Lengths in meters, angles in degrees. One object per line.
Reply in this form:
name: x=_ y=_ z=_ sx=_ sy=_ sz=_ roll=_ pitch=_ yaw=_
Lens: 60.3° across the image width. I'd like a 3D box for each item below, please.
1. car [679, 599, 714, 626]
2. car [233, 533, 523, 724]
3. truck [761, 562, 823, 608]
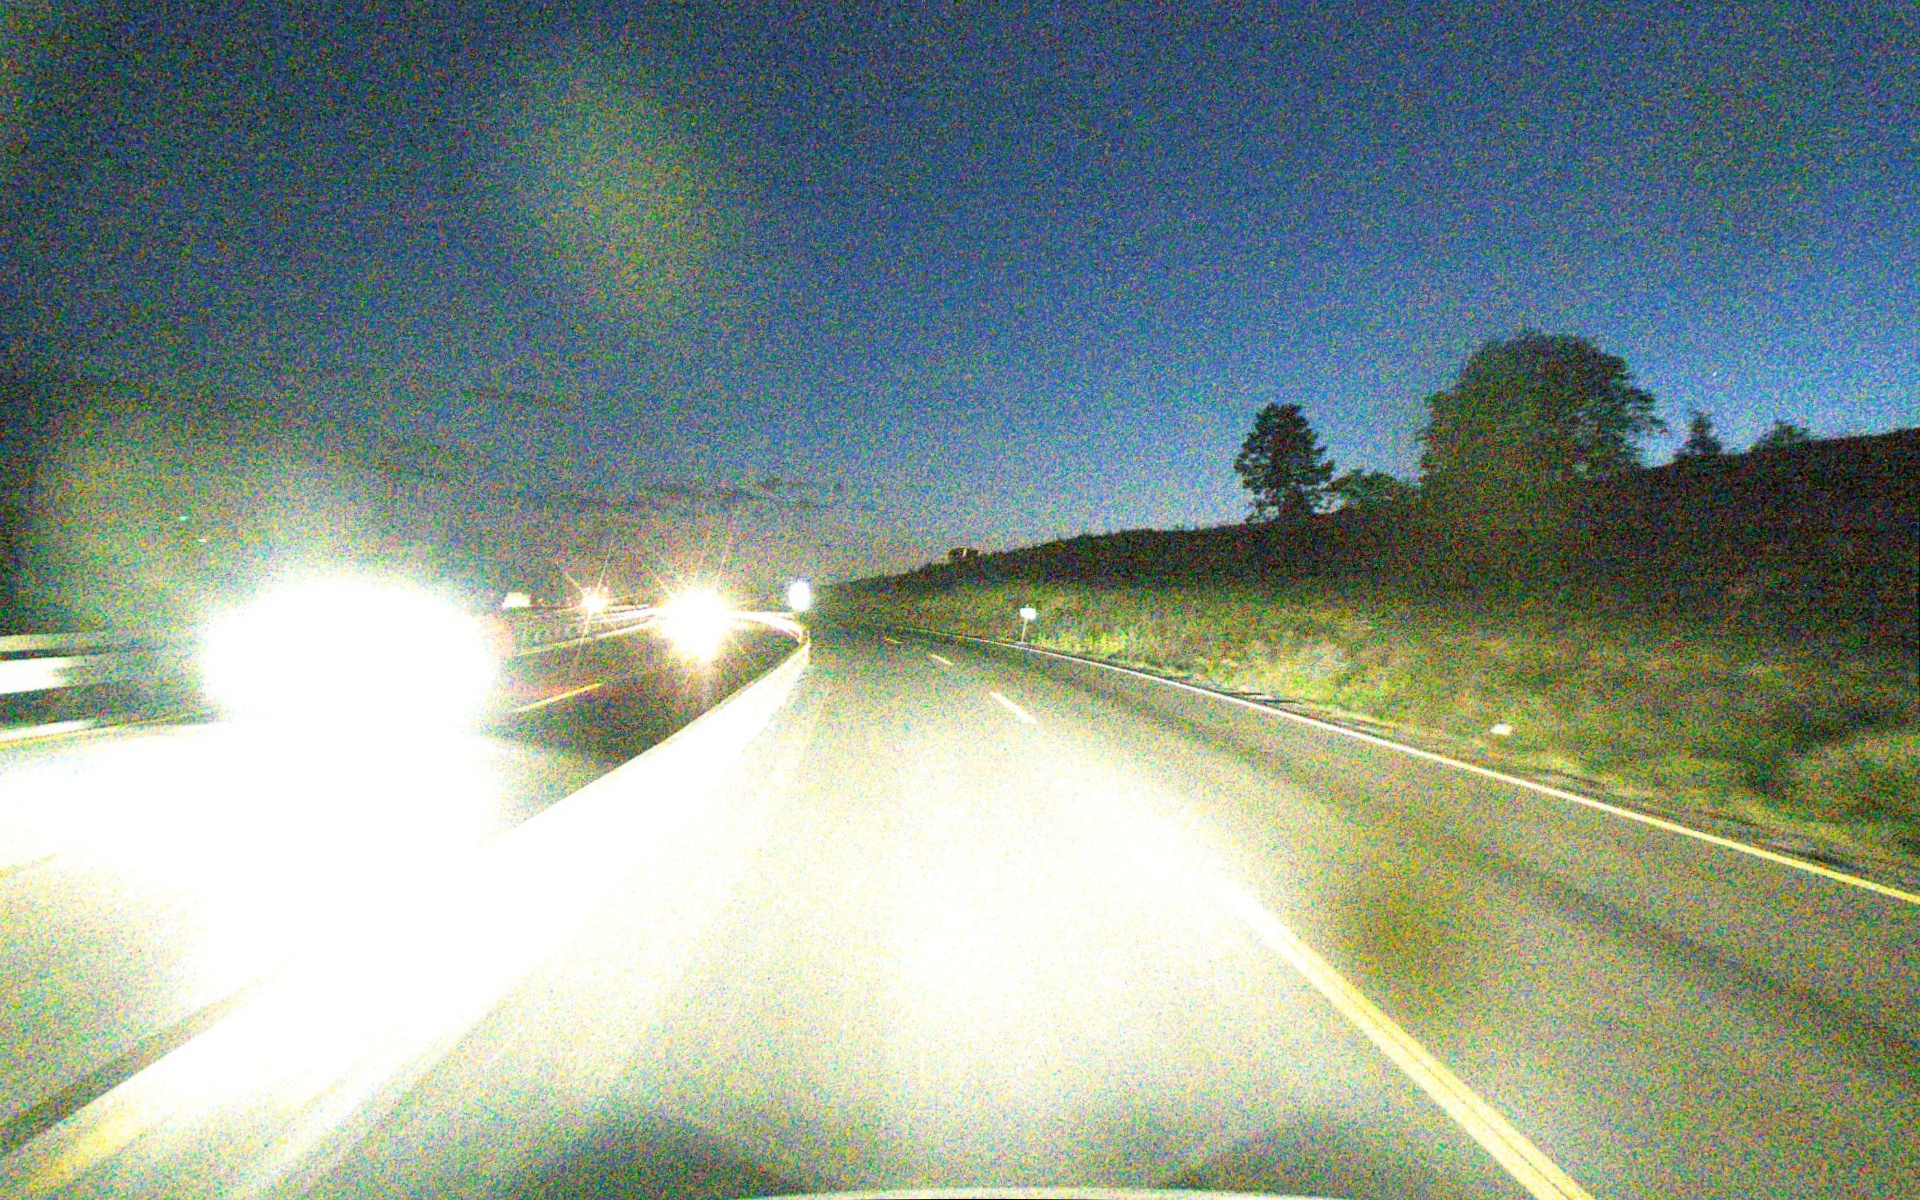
car: x=-16.490 y=0.779 z=103.316 sx=1.959 sy=1.668 sz=3.987 roll=-1 pitch=0 yaw=-12
car: x=-7.126 y=0.309 z=20.964 sx=1.954 sy=2.049 sz=5.583 roll=2 pitch=0 yaw=-4
truck: x=-18.236 y=-1.551 z=178.699 sx=3.949 sy=4.631 sz=13.884 roll=-1 pitch=0 yaw=-17
